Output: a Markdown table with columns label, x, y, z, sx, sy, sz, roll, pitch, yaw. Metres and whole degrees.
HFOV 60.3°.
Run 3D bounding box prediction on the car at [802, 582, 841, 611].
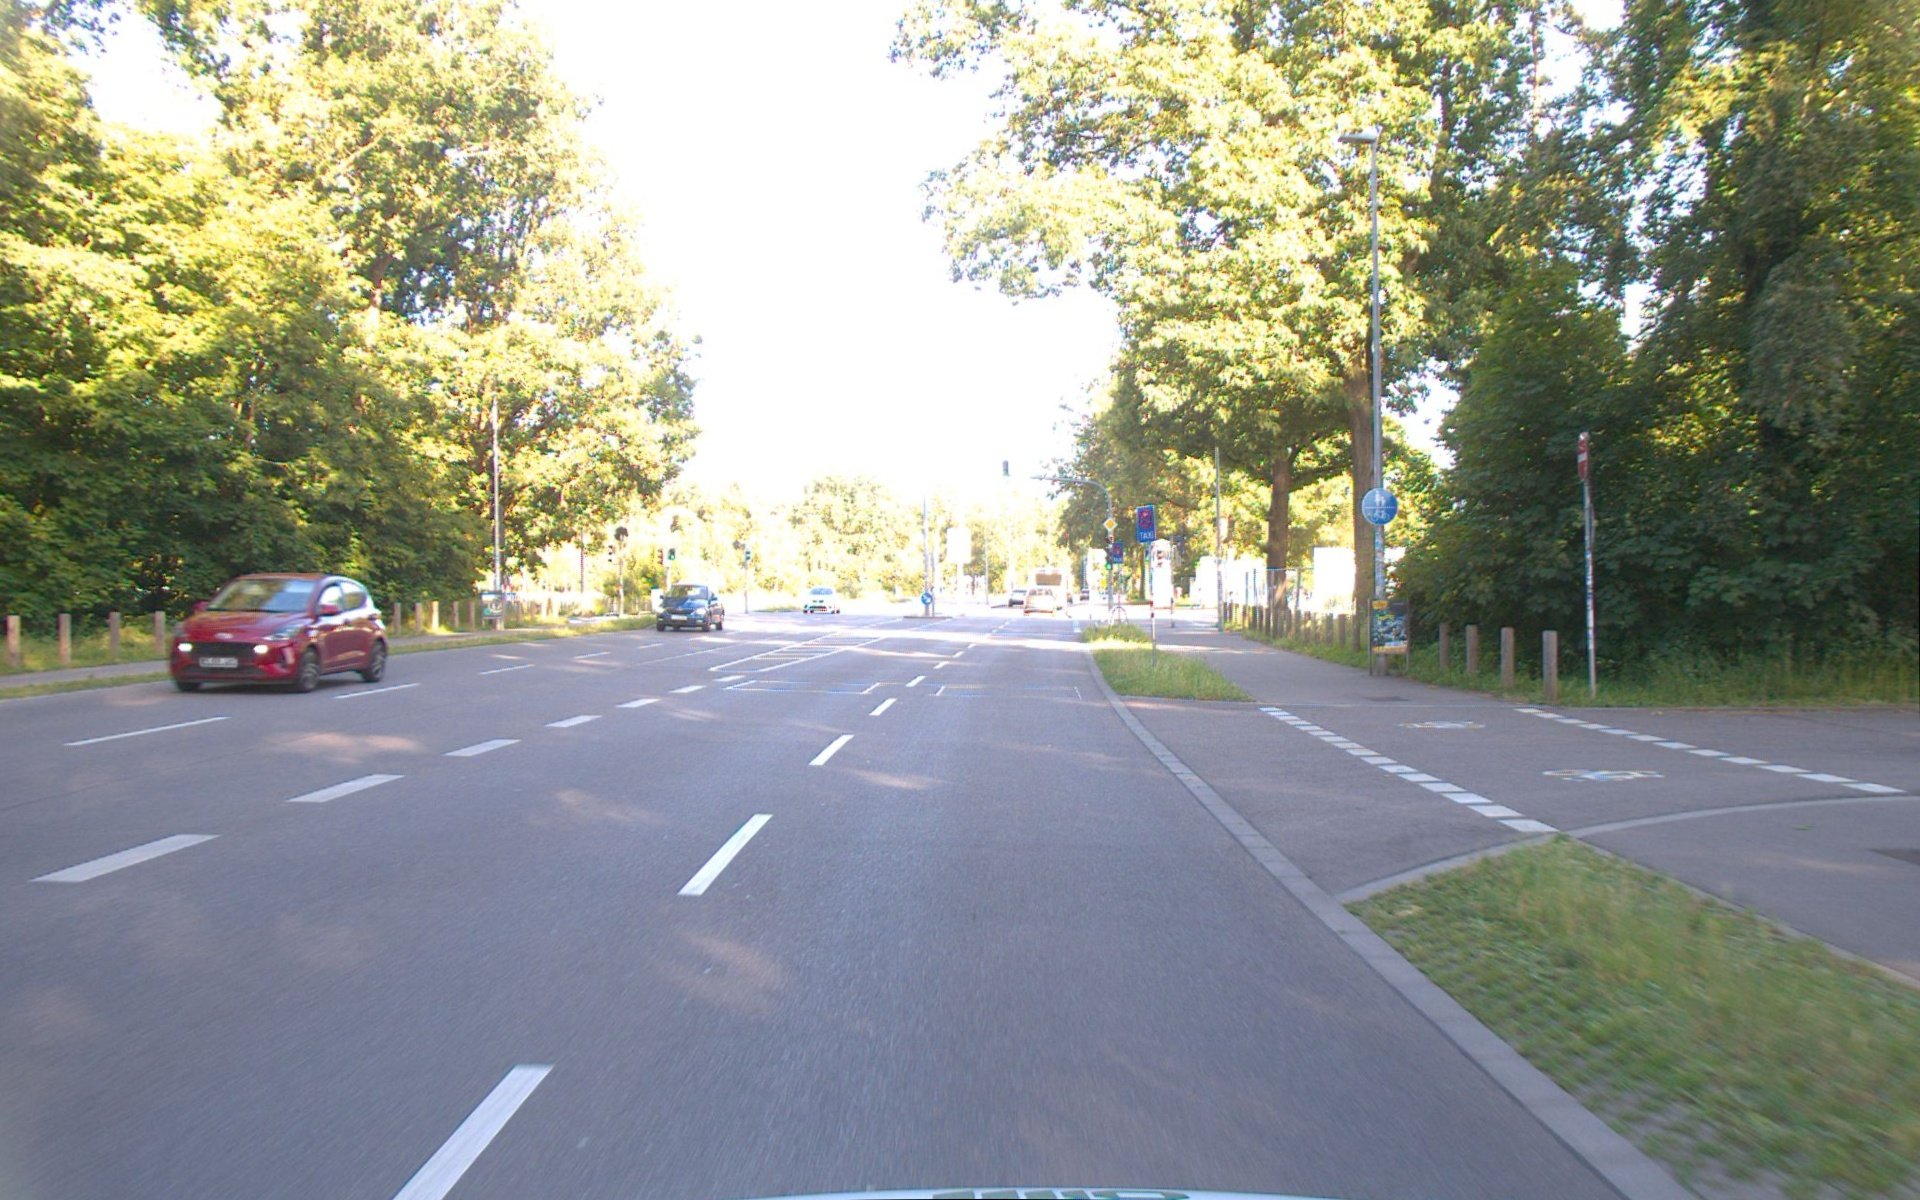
| label | x | y | z | sx | sy | sz | roll | pitch | yaw |
| --- | --- | --- | --- | --- | --- | --- | --- | --- | --- |
| car | -7.534 | -0.194 | 90.205 | 1.675 | 1.489 | 4.101 | 1 | 1 | 0 |

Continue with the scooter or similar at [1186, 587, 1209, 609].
| label | x | y | z | sx | sy | sz | roll | pitch | yaw |
| --- | --- | --- | --- | --- | --- | --- | --- | --- | --- |
| scooter or similar | 13.800 | -0.108 | 96.169 | 0.559 | 1.278 | 1.591 | 0 | 0 | 41 |

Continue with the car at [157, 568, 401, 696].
| label | x | y | z | sx | sy | sz | roll | pitch | yaw |
| --- | --- | --- | --- | --- | --- | --- | --- | --- | --- |
| car | -8.931 | 0.365 | 22.022 | 1.629 | 1.544 | 3.807 | 0 | 1 | 1 |

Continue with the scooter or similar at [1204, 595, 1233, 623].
| label | x | y | z | sx | sy | sz | roll | pitch | yaw |
| --- | --- | --- | --- | --- | --- | --- | --- | --- | --- |
| scooter or similar | 12.714 | 0.456 | 81.320 | 1.348 | 1.310 | 0.595 | -1 | 5 | -40 |

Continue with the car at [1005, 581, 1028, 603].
| label | x | y | z | sx | sy | sz | roll | pitch | yaw |
| --- | --- | --- | --- | --- | --- | --- | --- | --- | --- |
| car | 4.791 | -0.678 | 139.694 | 1.841 | 1.796 | 4.002 | 0 | 1 | 3 |

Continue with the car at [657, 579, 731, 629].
| label | x | y | z | sx | sy | sz | roll | pitch | yaw |
| --- | --- | --- | --- | --- | --- | --- | --- | --- | --- |
| car | -8.449 | 0.093 | 52.793 | 1.621 | 1.534 | 4.001 | 0 | 1 | 1 |

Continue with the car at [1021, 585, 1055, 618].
| label | x | y | z | sx | sy | sz | roll | pitch | yaw |
| --- | --- | --- | --- | --- | --- | --- | --- | --- | --- |
| car | 4.446 | 0.077 | 93.702 | 1.841 | 1.796 | 4.002 | 0 | 1 | 3 |

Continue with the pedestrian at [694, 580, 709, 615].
| label | x | y | z | sx | sy | sz | roll | pitch | yaw |
| --- | --- | --- | --- | --- | --- | --- | --- | --- | --- |
| pedestrian | -14.407 | -0.146 | 92.248 | 0.599 | 1.943 | 1.107 | -1 | 0 | 3 |

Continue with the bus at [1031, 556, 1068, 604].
| label | x | y | z | sx | sy | sz | roll | pitch | yaw |
| --- | --- | --- | --- | --- | --- | --- | --- | --- | --- |
| bus | 6.544 | -1.491 | 121.393 | 2.550 | 3.427 | 7.979 | 1 | 1 | 3 |

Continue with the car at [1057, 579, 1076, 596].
| label | x | y | z | sx | sy | sz | roll | pitch | yaw |
| --- | --- | --- | --- | --- | --- | --- | --- | --- | --- |
| car | 11.264 | -1.331 | 174.913 | 1.823 | 1.713 | 3.776 | -1 | 1 | 7 |
